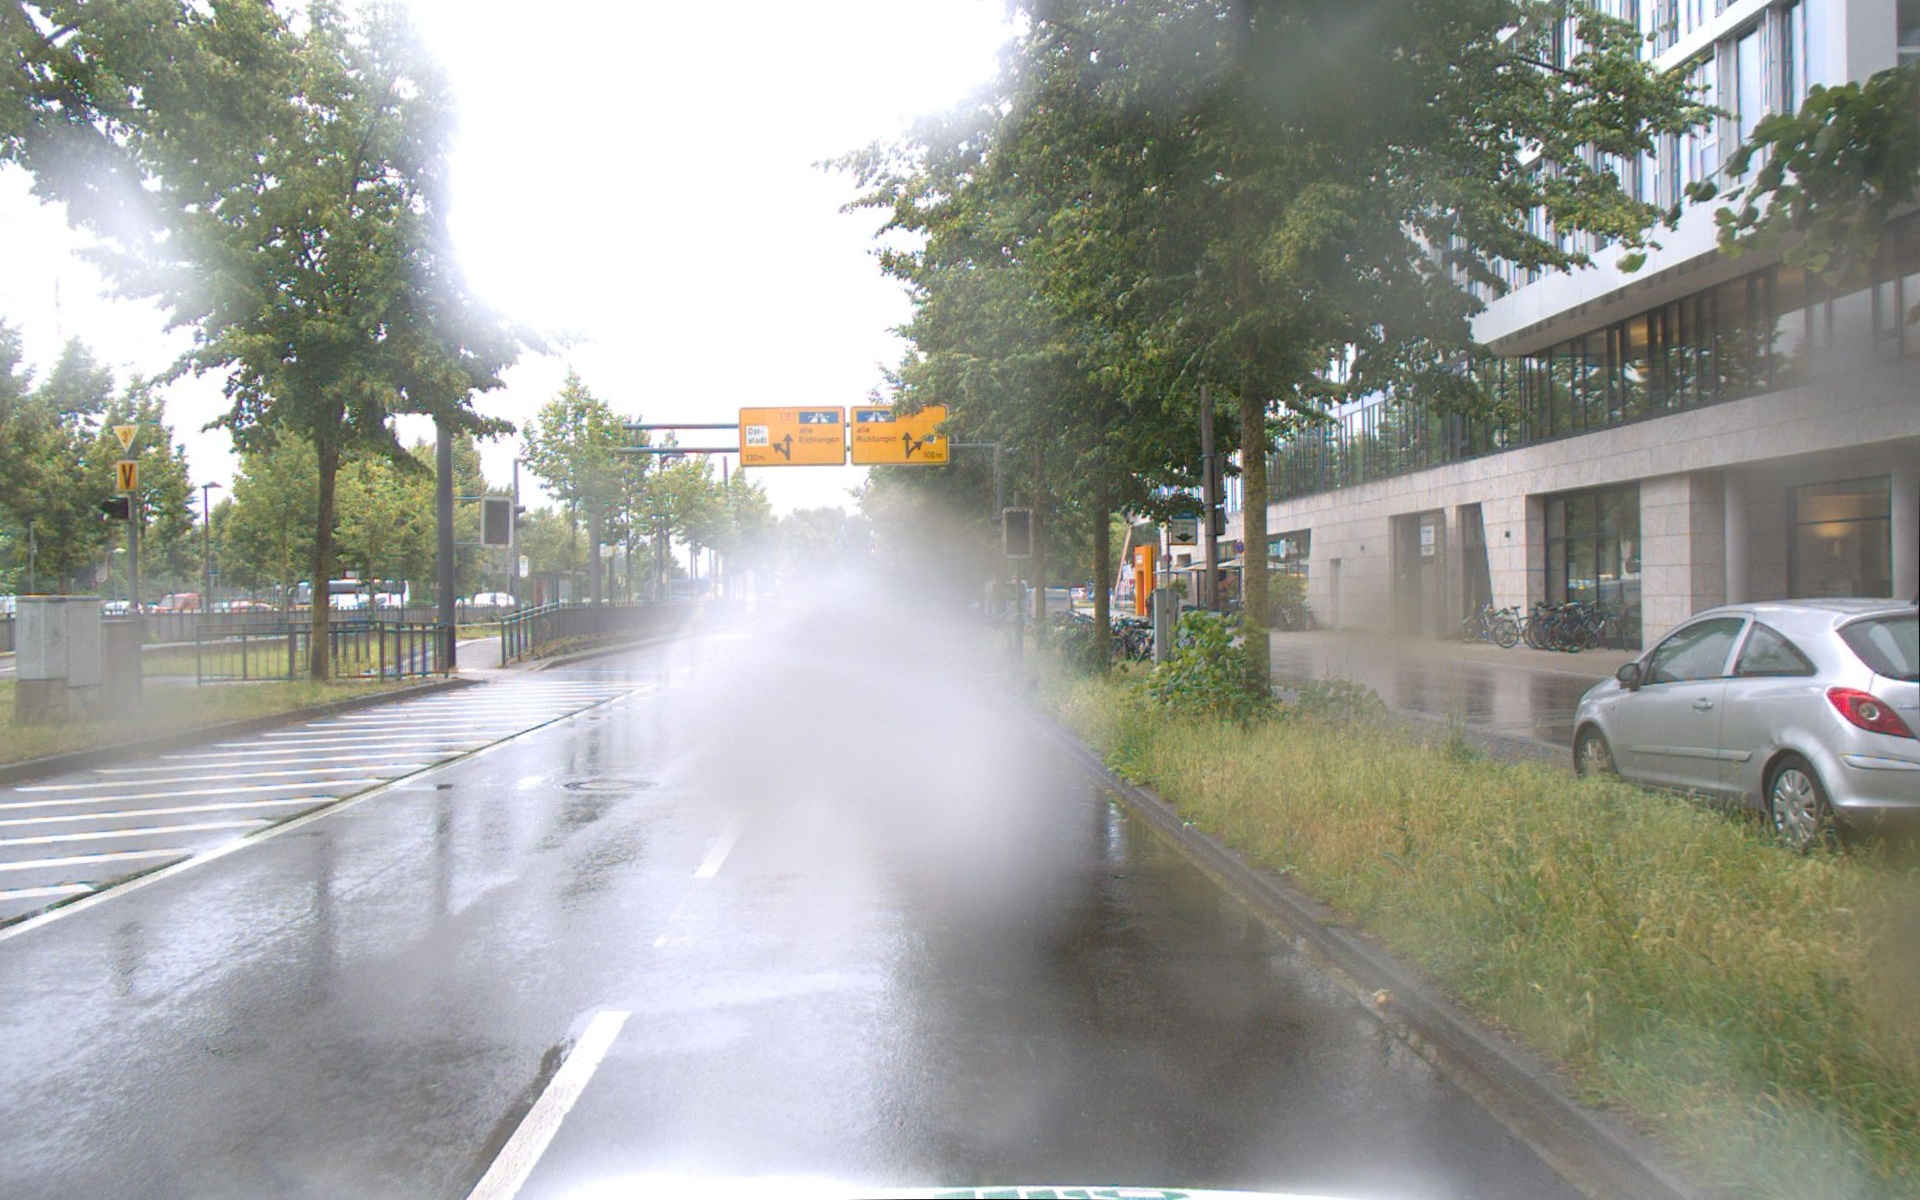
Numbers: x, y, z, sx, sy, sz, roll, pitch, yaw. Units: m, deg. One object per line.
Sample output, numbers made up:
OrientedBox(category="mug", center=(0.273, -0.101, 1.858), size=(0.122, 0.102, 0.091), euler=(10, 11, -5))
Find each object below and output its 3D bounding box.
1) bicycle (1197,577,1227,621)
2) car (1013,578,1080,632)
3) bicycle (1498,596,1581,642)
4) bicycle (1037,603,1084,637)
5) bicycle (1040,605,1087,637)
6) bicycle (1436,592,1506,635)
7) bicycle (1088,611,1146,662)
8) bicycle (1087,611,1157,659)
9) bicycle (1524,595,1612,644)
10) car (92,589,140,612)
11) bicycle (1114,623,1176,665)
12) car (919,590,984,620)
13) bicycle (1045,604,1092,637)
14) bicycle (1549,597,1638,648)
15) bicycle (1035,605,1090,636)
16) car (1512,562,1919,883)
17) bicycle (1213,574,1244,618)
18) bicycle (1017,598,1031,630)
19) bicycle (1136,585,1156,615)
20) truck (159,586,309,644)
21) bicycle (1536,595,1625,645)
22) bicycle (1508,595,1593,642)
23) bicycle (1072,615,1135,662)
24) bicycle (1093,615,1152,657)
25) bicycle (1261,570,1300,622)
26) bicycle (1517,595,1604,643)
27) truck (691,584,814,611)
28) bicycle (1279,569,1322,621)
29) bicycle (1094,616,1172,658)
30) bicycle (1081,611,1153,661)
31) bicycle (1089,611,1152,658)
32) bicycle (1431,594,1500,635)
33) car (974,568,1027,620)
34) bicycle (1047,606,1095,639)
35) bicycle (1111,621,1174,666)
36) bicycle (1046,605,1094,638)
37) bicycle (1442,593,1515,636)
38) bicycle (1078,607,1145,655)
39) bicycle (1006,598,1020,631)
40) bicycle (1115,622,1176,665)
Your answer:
OrientedBox(category="bicycle", center=(10.833, -0.077, 71.225), size=(0.632, 1.752, 3.119), euler=(-1, 3, -3))
OrientedBox(category="car", center=(3.074, 0.140, 59.655), size=(1.868, 1.822, 4.685), euler=(-1, 0, -3))
OrientedBox(category="bicycle", center=(13.775, 0.440, 39.343), size=(1.770, 1.046, 0.541), euler=(-1, 0, -1))
OrientedBox(category="bicycle", center=(2.857, 0.576, 47.103), size=(1.299, 0.926, 0.275), euler=(-2, 0, -4))
OrientedBox(category="bicycle", center=(2.901, 0.596, 46.430), size=(1.263, 0.864, 0.275), euler=(-1, 0, -4))
OrientedBox(category="bicycle", center=(13.229, 0.349, 42.793), size=(1.659, 1.046, 0.423), euler=(-1, 0, -1))
OrientedBox(category="bicycle", center=(3.512, 0.809, 37.050), size=(1.261, 1.093, 0.275), euler=(-2, 0, 5))
OrientedBox(category="bicycle", center=(3.667, 0.791, 37.414), size=(1.541, 1.035, 0.408), euler=(-2, 0, 3))
OrientedBox(category="bicycle", center=(13.726, 0.431, 37.331), size=(1.770, 1.046, 0.541), euler=(-1, 0, -1))
OrientedBox(category="car", center=(-71.088, 0.019, 139.345), size=(3.490, 1.768, 1.691), euler=(-3, 3, -27))
OrientedBox(category="bicycle", center=(3.886, 0.931, 34.765), size=(1.261, 0.846, 0.275), euler=(-2, 0, 8))
OrientedBox(category="car", center=(-0.493, 0.263, 95.000), size=(1.800, 1.571, 3.951), euler=(-3, 3, -35))
OrientedBox(category="bicycle", center=(3.008, 0.571, 45.758), size=(1.263, 0.864, 0.275), euler=(-2, 0, -4))
OrientedBox(category="bicycle", center=(13.785, 0.489, 36.026), size=(1.770, 1.046, 0.401), euler=(-1, 0, -1))
OrientedBox(category="bicycle", center=(2.993, 0.586, 48.418), size=(1.563, 0.864, 0.311), euler=(-1, 0, -4))
OrientedBox(category="car", center=(5.494, 0.587, 11.053), size=(1.843, 1.532, 4.722), euler=(-1, 3, -3))
OrientedBox(category="bicycle", center=(11.564, -0.191, 71.282), size=(0.632, 1.752, 3.119), euler=(-1, 3, -3))
OrientedBox(category="bicycle", center=(1.766, 0.380, 45.565), size=(0.269, 0.864, 1.292), euler=(-2, 0, -3))
OrientedBox(category="bicycle", center=(10.473, 0.006, 93.171), size=(0.653, 1.561, 2.763), euler=(-1, 3, -3))
OrientedBox(category="truck", center=(-67.252, 1.322, 153.362), size=(12.321, 4.672, 3.369), euler=(-3, 3, -30))
OrientedBox(category="bicycle", center=(13.771, 0.438, 36.721), size=(1.770, 1.046, 0.541), euler=(-1, 0, -1))
OrientedBox(category="bicycle", center=(13.774, 0.437, 38.587), size=(1.770, 1.046, 0.541), euler=(-1, 0, -1))
OrientedBox(category="bicycle", center=(3.339, 0.896, 38.601), size=(1.422, 1.035, 0.349), euler=(-1, 0, 1))
OrientedBox(category="bicycle", center=(3.556, 0.792, 36.239), size=(1.262, 0.864, 0.275), euler=(-2, 0, 1))
OrientedBox(category="bicycle", center=(11.786, -0.176, 60.950), size=(0.632, 1.752, 3.119), euler=(-1, 3, -3))
OrientedBox(category="bicycle", center=(13.767, 0.434, 37.937), size=(1.770, 1.046, 0.541), euler=(-1, 0, -1))
OrientedBox(category="truck", center=(-25.550, -0.331, 203.526), size=(14.629, 3.202, 3.505), euler=(-1, 0, -18))
OrientedBox(category="bicycle", center=(12.551, -0.198, 61.026), size=(0.757, 1.752, 3.119), euler=(-1, 3, -3))
OrientedBox(category="bicycle", center=(3.752, 0.798, 35.902), size=(1.637, 0.864, 0.275), euler=(-2, 0, 1))
OrientedBox(category="bicycle", center=(3.730, 0.845, 39.365), size=(1.675, 1.122, 0.282), euler=(-2, 0, -10))
OrientedBox(category="bicycle", center=(3.660, 0.786, 37.818), size=(1.408, 1.035, 0.349), euler=(-1, 0, 3))
OrientedBox(category="bicycle", center=(13.225, 0.377, 43.313), size=(1.659, 1.046, 0.423), euler=(-1, 0, -1))
OrientedBox(category="car", center=(1.879, -0.282, 78.031), size=(2.079, 2.313, 4.562), euler=(-1, 0, -3))
OrientedBox(category="bicycle", center=(3.034, 0.599, 45.059), size=(1.263, 0.864, 0.275), euler=(-1, 0, -4))
OrientedBox(category="bicycle", center=(3.803, 0.904, 34.394), size=(1.261, 0.889, 0.301), euler=(-2, 0, 8))
OrientedBox(category="bicycle", center=(3.019, 0.598, 45.426), size=(1.263, 0.864, 0.354), euler=(-1, 0, -4))
OrientedBox(category="bicycle", center=(13.245, 0.368, 42.249), size=(1.714, 1.046, 0.412), euler=(-1, 0, -1))
OrientedBox(category="bicycle", center=(3.708, 0.755, 40.444), size=(1.581, 1.115, 0.296), euler=(-2, 0, -6))
OrientedBox(category="bicycle", center=(1.460, 0.388, 45.482), size=(0.269, 0.864, 1.292), euler=(-2, 0, -3))
OrientedBox(category="bicycle", center=(3.942, 0.924, 35.135), size=(1.261, 0.864, 0.275), euler=(-2, 0, 8))
